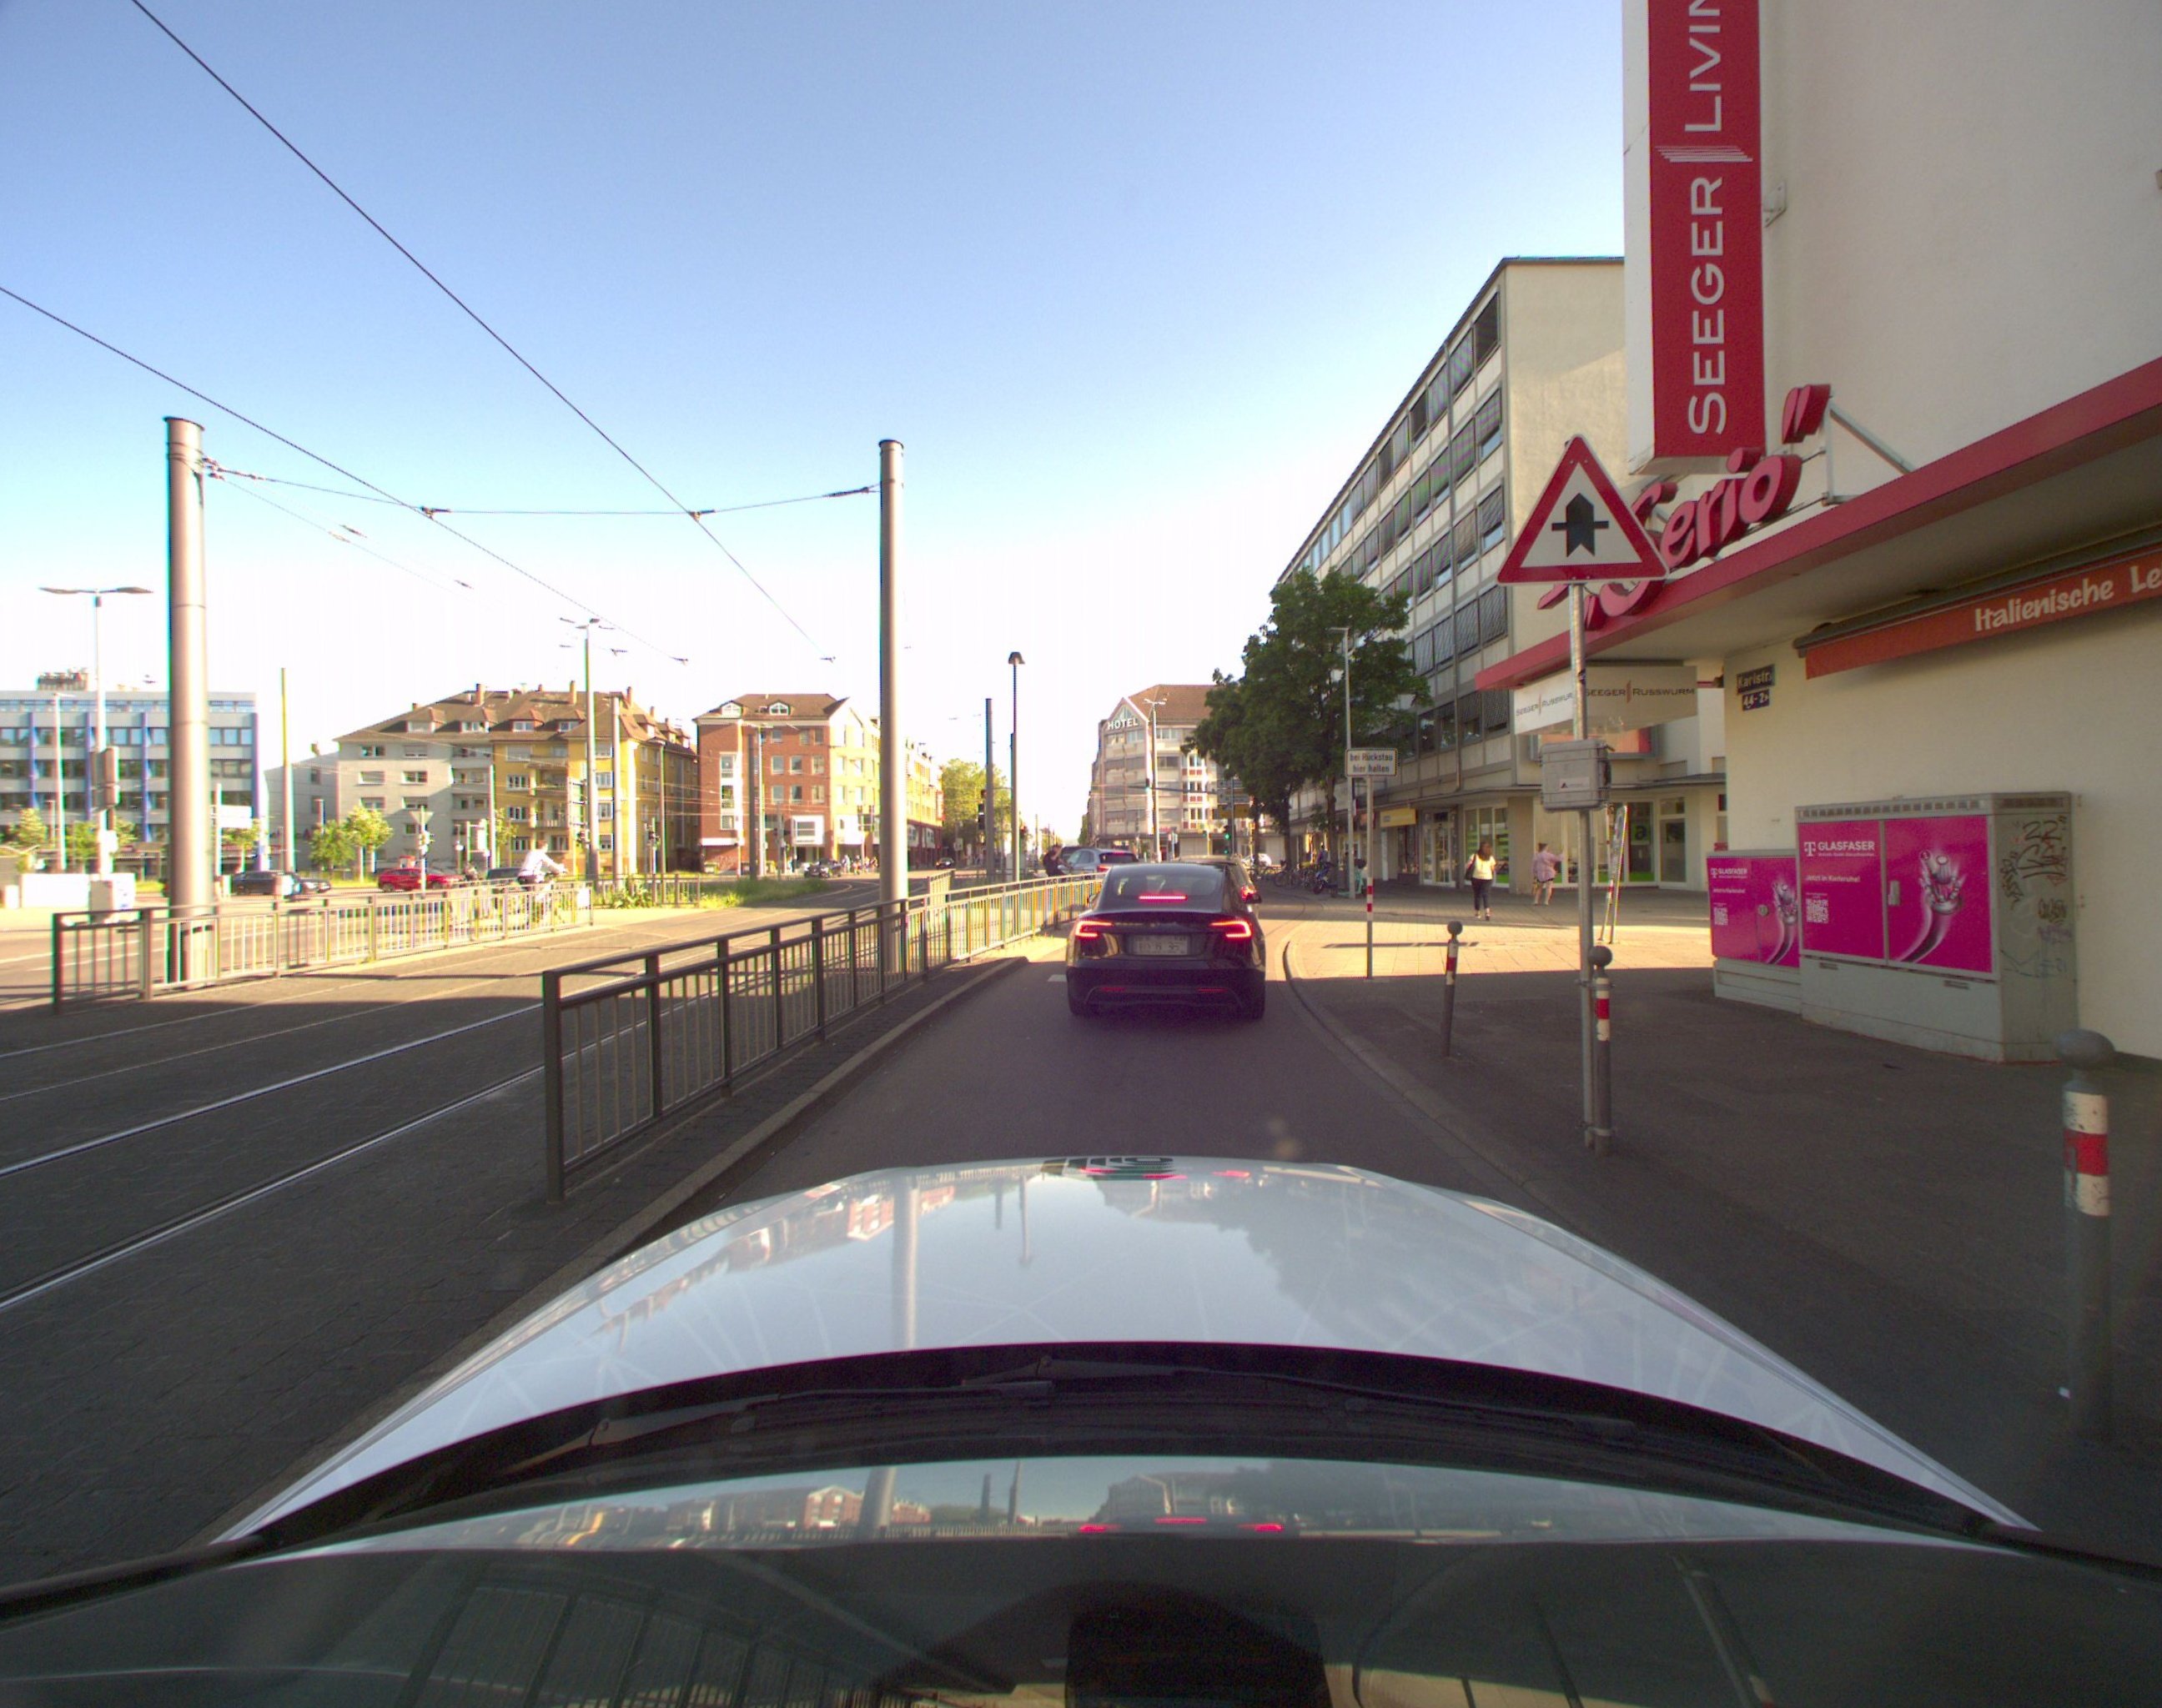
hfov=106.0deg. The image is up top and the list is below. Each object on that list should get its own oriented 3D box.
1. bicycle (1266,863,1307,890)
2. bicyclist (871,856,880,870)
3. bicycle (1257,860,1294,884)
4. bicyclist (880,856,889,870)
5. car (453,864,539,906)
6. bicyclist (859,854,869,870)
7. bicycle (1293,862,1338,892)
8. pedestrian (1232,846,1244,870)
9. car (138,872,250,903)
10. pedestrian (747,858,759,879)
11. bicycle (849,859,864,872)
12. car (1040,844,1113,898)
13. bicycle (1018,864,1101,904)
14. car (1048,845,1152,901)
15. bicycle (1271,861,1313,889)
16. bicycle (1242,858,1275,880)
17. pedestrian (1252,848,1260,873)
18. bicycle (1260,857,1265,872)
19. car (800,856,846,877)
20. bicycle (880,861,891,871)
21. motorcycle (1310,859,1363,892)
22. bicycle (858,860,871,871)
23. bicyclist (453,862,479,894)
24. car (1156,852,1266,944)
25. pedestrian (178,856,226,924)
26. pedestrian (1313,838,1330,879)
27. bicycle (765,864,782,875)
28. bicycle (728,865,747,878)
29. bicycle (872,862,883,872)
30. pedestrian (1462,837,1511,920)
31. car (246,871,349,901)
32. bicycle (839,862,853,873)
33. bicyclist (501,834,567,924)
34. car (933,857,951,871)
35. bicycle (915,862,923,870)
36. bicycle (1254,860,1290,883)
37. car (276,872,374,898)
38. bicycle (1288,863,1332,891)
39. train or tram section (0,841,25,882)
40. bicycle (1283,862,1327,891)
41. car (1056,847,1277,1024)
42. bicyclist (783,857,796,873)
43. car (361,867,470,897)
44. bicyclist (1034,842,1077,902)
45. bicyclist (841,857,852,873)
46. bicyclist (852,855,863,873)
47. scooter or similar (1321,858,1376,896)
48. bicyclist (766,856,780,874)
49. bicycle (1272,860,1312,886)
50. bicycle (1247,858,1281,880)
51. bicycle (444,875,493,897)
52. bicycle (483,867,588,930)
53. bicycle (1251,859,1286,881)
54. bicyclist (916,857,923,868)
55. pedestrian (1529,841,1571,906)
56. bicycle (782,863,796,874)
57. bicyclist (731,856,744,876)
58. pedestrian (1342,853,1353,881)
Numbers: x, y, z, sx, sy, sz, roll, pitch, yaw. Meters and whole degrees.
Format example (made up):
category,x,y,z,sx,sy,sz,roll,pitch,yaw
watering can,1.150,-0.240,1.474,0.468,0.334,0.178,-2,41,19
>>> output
category,x,y,z,sx,sy,sz,roll,pitch,yaw
bicycle,8.654,0.956,34.254,1.649,1.099,0.349,0,-1,-9
bicyclist,-22.218,0.975,88.024,0.780,1.563,0.747,-1,0,3
bicycle,9.139,0.836,38.211,1.643,1.099,0.350,0,-1,3
bicyclist,-21.936,1.043,90.827,0.780,1.563,0.747,-1,0,3
car,-22.874,1.177,31.994,1.644,1.526,3.842,0,-1,-18
bicyclist,-22.621,0.836,84.993,0.780,1.563,0.747,-1,0,3
bicycle,8.894,0.859,30.937,1.649,1.099,0.349,0,-1,-9
pedestrian,11.013,0.280,56.997,0.697,1.662,0.777,0,-1,1
car,-50.626,1.878,46.559,3.952,1.685,1.903,0,-1,-11
pedestrian,-28.834,1.240,71.569,0.780,1.820,0.747,0,-1,3
bicycle,-19.561,0.988,71.053,0.456,1.093,2.205,0,-1,6
car,-0.259,0.665,32.788,1.997,2.014,3.980,-1,0,-15
bicycle,-0.574,0.802,22.559,2.346,1.053,0.624,0,-1,-36
car,0.511,0.587,26.593,1.891,1.662,4.126,0,-1,-23
bicycle,8.616,0.846,33.319,1.649,1.099,0.349,0,-1,-9
bicycle,9.244,0.790,42.392,1.643,1.099,0.350,0,-1,3
pedestrian,12.288,0.466,57.261,0.523,1.710,0.404,-1,-1,7
bicycle,12.655,0.759,56.751,0.330,1.034,1.260,-1,-1,11
car,-19.186,0.917,60.743,1.701,1.527,4.044,0,-1,7
bicycle,-21.828,1.304,91.113,0.527,1.088,2.227,-1,0,4
motorcycle,9.144,0.772,29.168,1.701,1.173,0.541,0,-1,0
bicycle,-22.588,1.208,84.975,0.527,1.088,2.286,-2,0,4
bicyclist,-34.750,1.334,46.002,0.900,1.808,0.788,0,-1,-10
car,2.372,0.699,15.054,1.741,1.454,4.009,-1,0,8
pedestrian,-22.379,0.901,20.744,0.585,1.681,0.779,-1,-1,39
pedestrian,11.746,0.224,39.773,0.659,2.014,0.580,0,-1,4
bicycle,-25.890,1.295,68.579,0.522,0.972,2.247,0,-1,2
bicycle,-26.029,1.329,61.736,0.445,0.972,2.247,0,-1,2
bicycle,-22.148,1.415,88.557,0.527,1.088,2.286,0,-1,4
pedestrian,8.870,0.517,17.861,0.906,1.752,1.044,-1,-1,25
car,-45.494,1.838,47.378,3.984,1.672,1.772,0,-1,-8
bicycle,-23.005,1.331,79.832,0.535,1.088,2.227,0,-1,4
bicyclist,-11.361,0.509,16.919,0.750,1.759,0.757,5,1,22
car,-17.768,1.221,104.377,1.692,1.731,3.706,0,-1,0
bicycle,-21.766,1.585,109.406,0.527,1.088,2.227,0,-1,4
bicycle,9.204,0.840,39.237,1.643,1.099,0.350,0,-1,3
car,-46.222,1.856,49.869,3.990,1.483,1.786,0,-1,-12
bicycle,8.816,0.875,31.361,1.649,1.061,0.349,0,-1,-9
train or tram section,-87.636,0.603,61.025,11.234,3.131,2.795,0,-1,-11
bicycle,8.730,0.858,31.787,1.649,1.099,0.349,0,-1,-9
car,0.942,0.696,8.792,1.820,1.455,4.007,0,-1,7
bicyclist,-26.866,1.002,74.955,0.699,1.471,0.975,-1,0,9
car,-39.462,1.654,48.372,4.585,1.700,1.993,0,-1,-10
bicyclist,-0.718,0.489,22.428,0.763,1.628,0.967,0,-1,-37
bicyclist,-23.000,1.097,79.877,0.780,1.563,0.747,0,-1,3
bicyclist,-19.566,0.882,71.291,0.781,1.527,0.590,0,-1,6
scooter or similar,8.897,0.763,27.098,1.625,1.215,0.649,-1,-1,32
bicyclist,-25.874,0.913,68.519,0.895,1.503,0.696,0,-1,1
bicycle,9.118,0.830,35.257,1.643,1.099,0.350,0,-1,3
bicycle,9.262,0.760,41.297,1.643,1.099,0.350,-1,0,3
bicycle,-34.648,1.813,46.073,2.188,1.214,0.544,0,-1,-11
bicycle,-11.334,0.890,16.995,0.480,1.222,1.865,-1,-1,22
bicycle,9.280,0.797,40.250,1.643,1.099,0.350,0,-1,3
bicyclist,-21.734,1.159,109.601,0.780,1.563,0.747,0,-1,3
pedestrian,12.431,0.503,21.593,0.881,1.667,0.813,-1,-1,25
bicycle,-26.850,1.357,74.942,0.402,0.981,1.699,-1,-1,10
bicyclist,-26.031,0.918,61.737,0.631,1.503,0.696,0,-1,1
pedestrian,12.805,0.606,39.156,0.388,1.343,0.513,0,-1,4
